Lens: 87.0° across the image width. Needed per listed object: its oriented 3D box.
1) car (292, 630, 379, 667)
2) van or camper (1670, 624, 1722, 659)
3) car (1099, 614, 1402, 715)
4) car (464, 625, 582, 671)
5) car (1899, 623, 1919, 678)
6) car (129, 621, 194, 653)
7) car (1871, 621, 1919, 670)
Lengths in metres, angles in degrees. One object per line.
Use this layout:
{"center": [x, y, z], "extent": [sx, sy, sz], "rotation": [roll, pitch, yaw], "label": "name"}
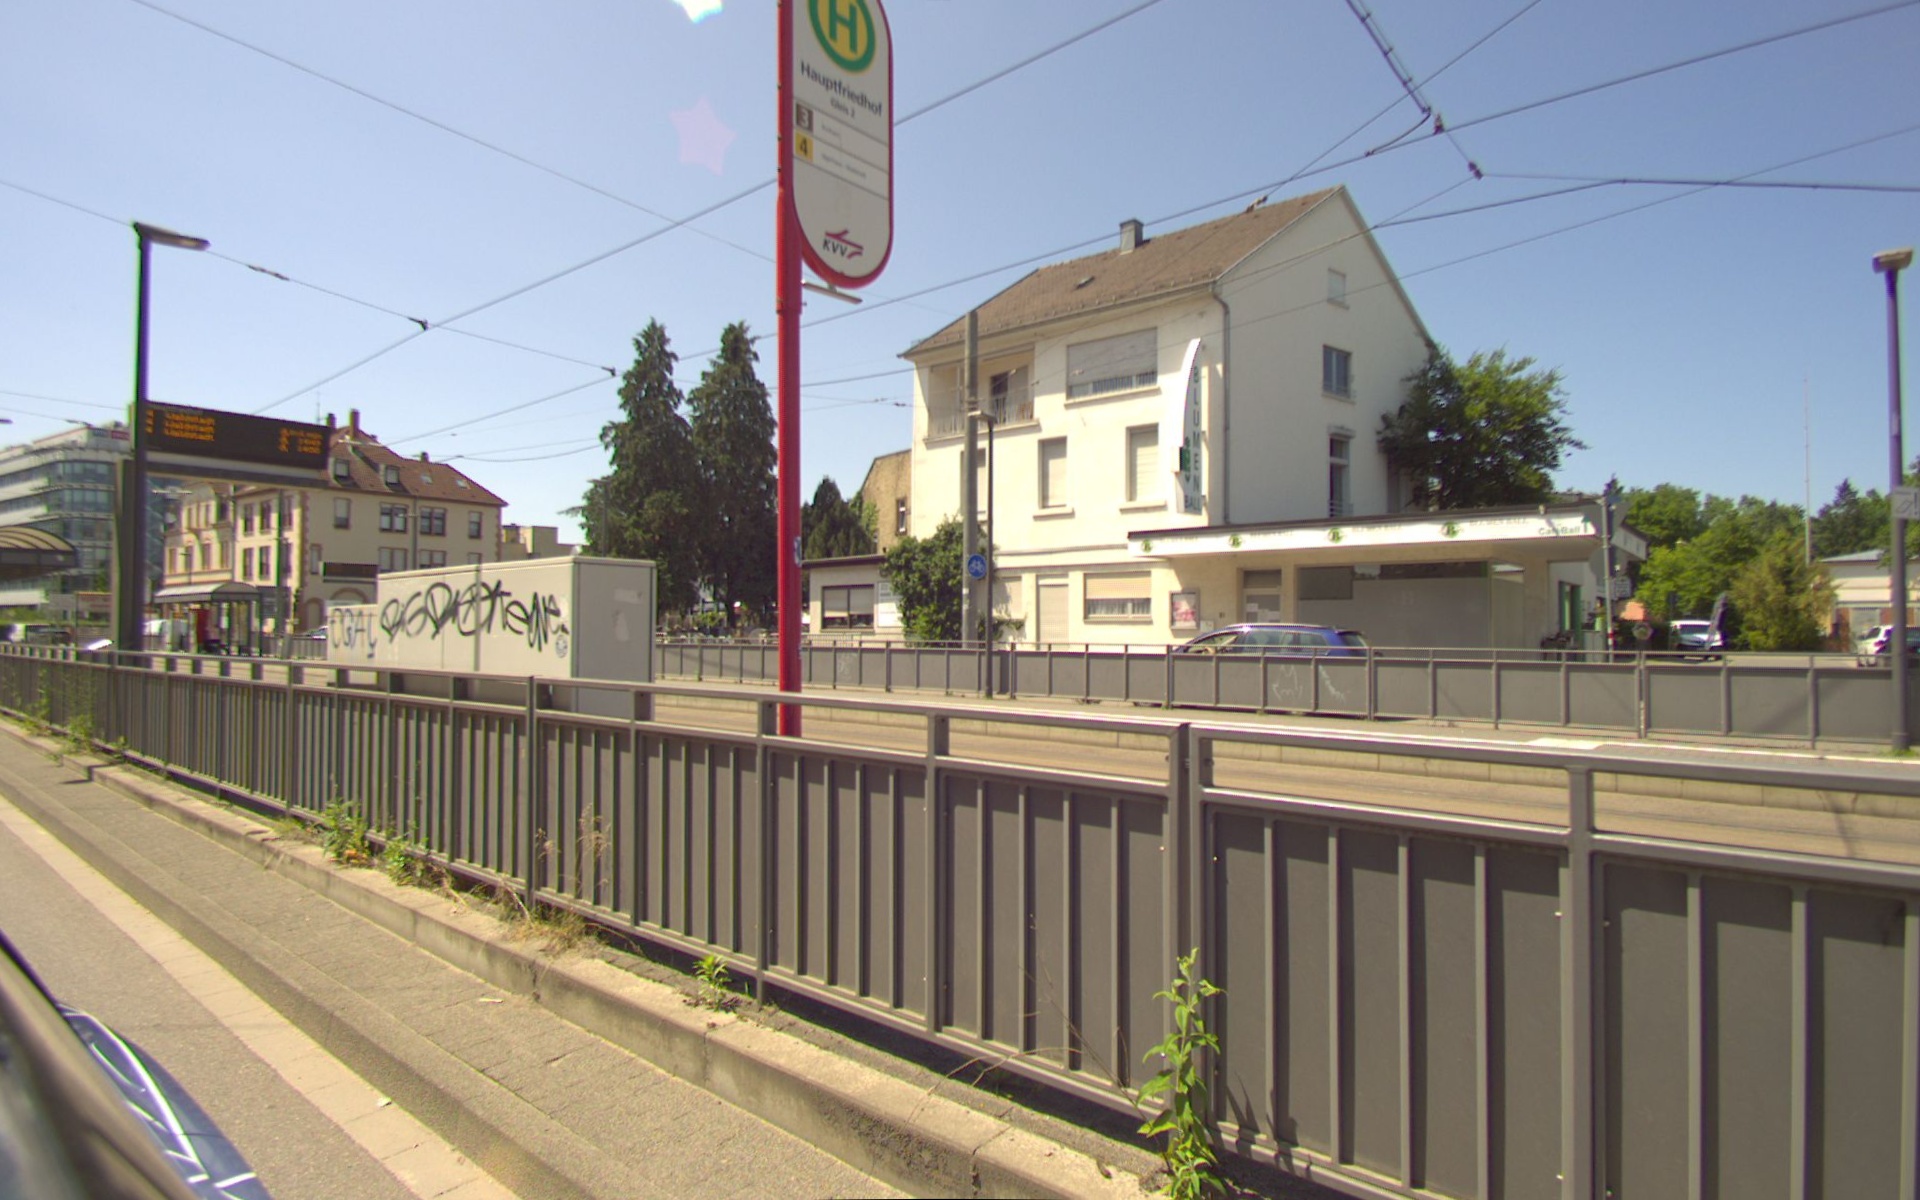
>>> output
{"center": [-26.453, 2.038, 42.812], "extent": [4.620, 1.479, 1.799], "rotation": [-1, -3, 41], "label": "car"}
{"center": [34.668, 1.921, 47.744], "extent": [1.686, 1.578, 3.784], "rotation": [-1, -2, 32], "label": "van or camper"}
{"center": [4.681, 1.000, 16.751], "extent": [4.476, 1.453, 1.837], "rotation": [-2, -2, 41], "label": "car"}
{"center": [-14.307, 1.558, 33.075], "extent": [4.170, 1.406, 1.800], "rotation": [-1, -3, 39], "label": "car"}
{"center": [25.777, 1.345, 26.491], "extent": [1.644, 1.381, 3.760], "rotation": [-2, -3, 42], "label": "car"}
{"center": [-47.280, 2.208, 59.893], "extent": [4.690, 1.831, 1.838], "rotation": [-1, -3, 37], "label": "car"}
{"center": [29.663, 1.428, 31.633], "extent": [1.644, 1.457, 3.761], "rotation": [-2, -3, 41], "label": "car"}
